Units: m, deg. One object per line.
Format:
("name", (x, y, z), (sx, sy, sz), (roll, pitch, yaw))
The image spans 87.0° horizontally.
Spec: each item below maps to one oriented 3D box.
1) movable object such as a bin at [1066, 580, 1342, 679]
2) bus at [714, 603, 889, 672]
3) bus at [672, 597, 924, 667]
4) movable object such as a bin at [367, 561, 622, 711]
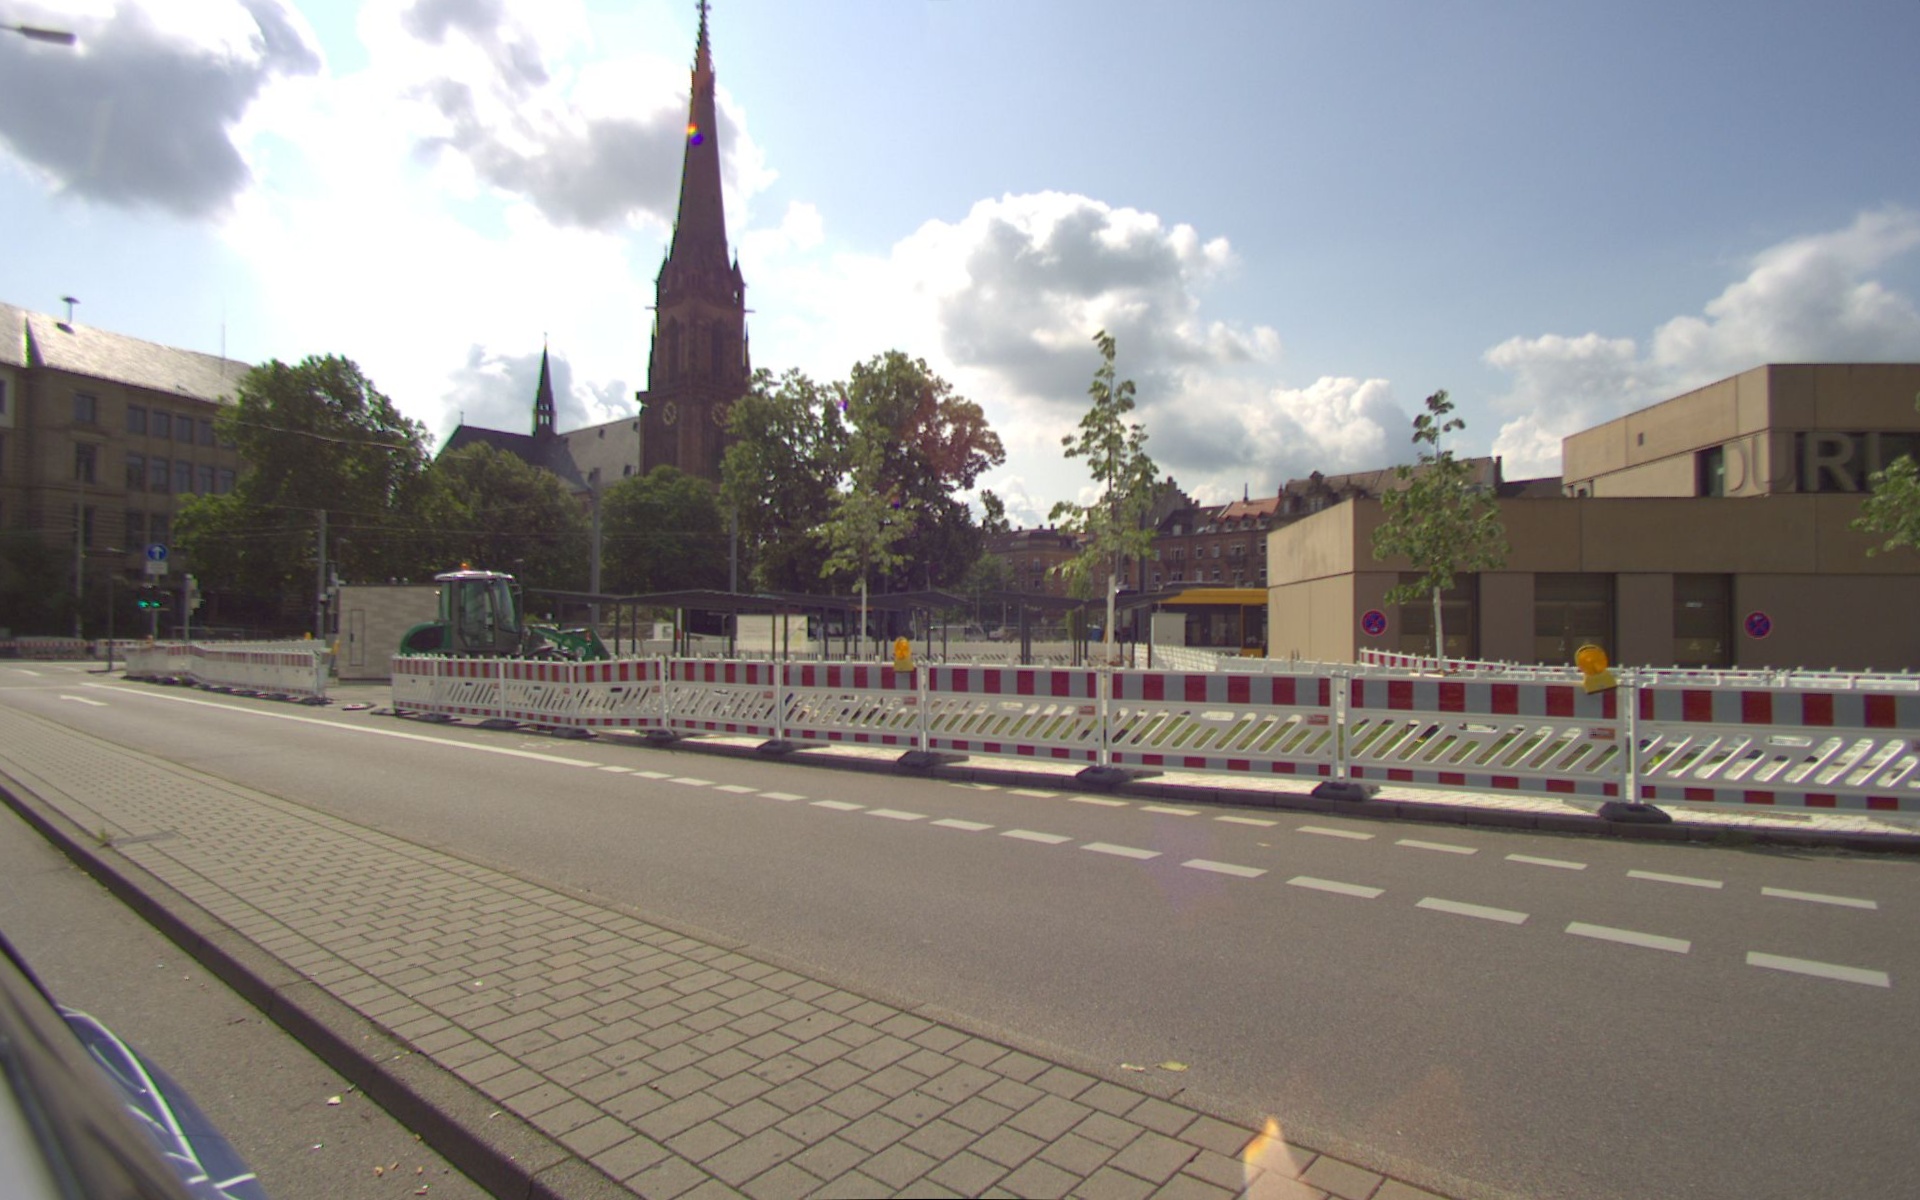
("movable object such as a bin", (8.772, 1.101, 37.530), (9.571, 3.450, 3.014), (0, -2, 7))
("bus", (-7.263, 1.745, 46.905), (7.667, 3.081, 2.369), (0, -2, 6))
("bus", (-7.893, 1.580, 50.027), (11.925, 3.287, 2.988), (0, -2, 6))
("movable object such as a bin", (-9.580, 0.760, 21.141), (4.385, 2.972, 2.001), (0, -2, -3))
